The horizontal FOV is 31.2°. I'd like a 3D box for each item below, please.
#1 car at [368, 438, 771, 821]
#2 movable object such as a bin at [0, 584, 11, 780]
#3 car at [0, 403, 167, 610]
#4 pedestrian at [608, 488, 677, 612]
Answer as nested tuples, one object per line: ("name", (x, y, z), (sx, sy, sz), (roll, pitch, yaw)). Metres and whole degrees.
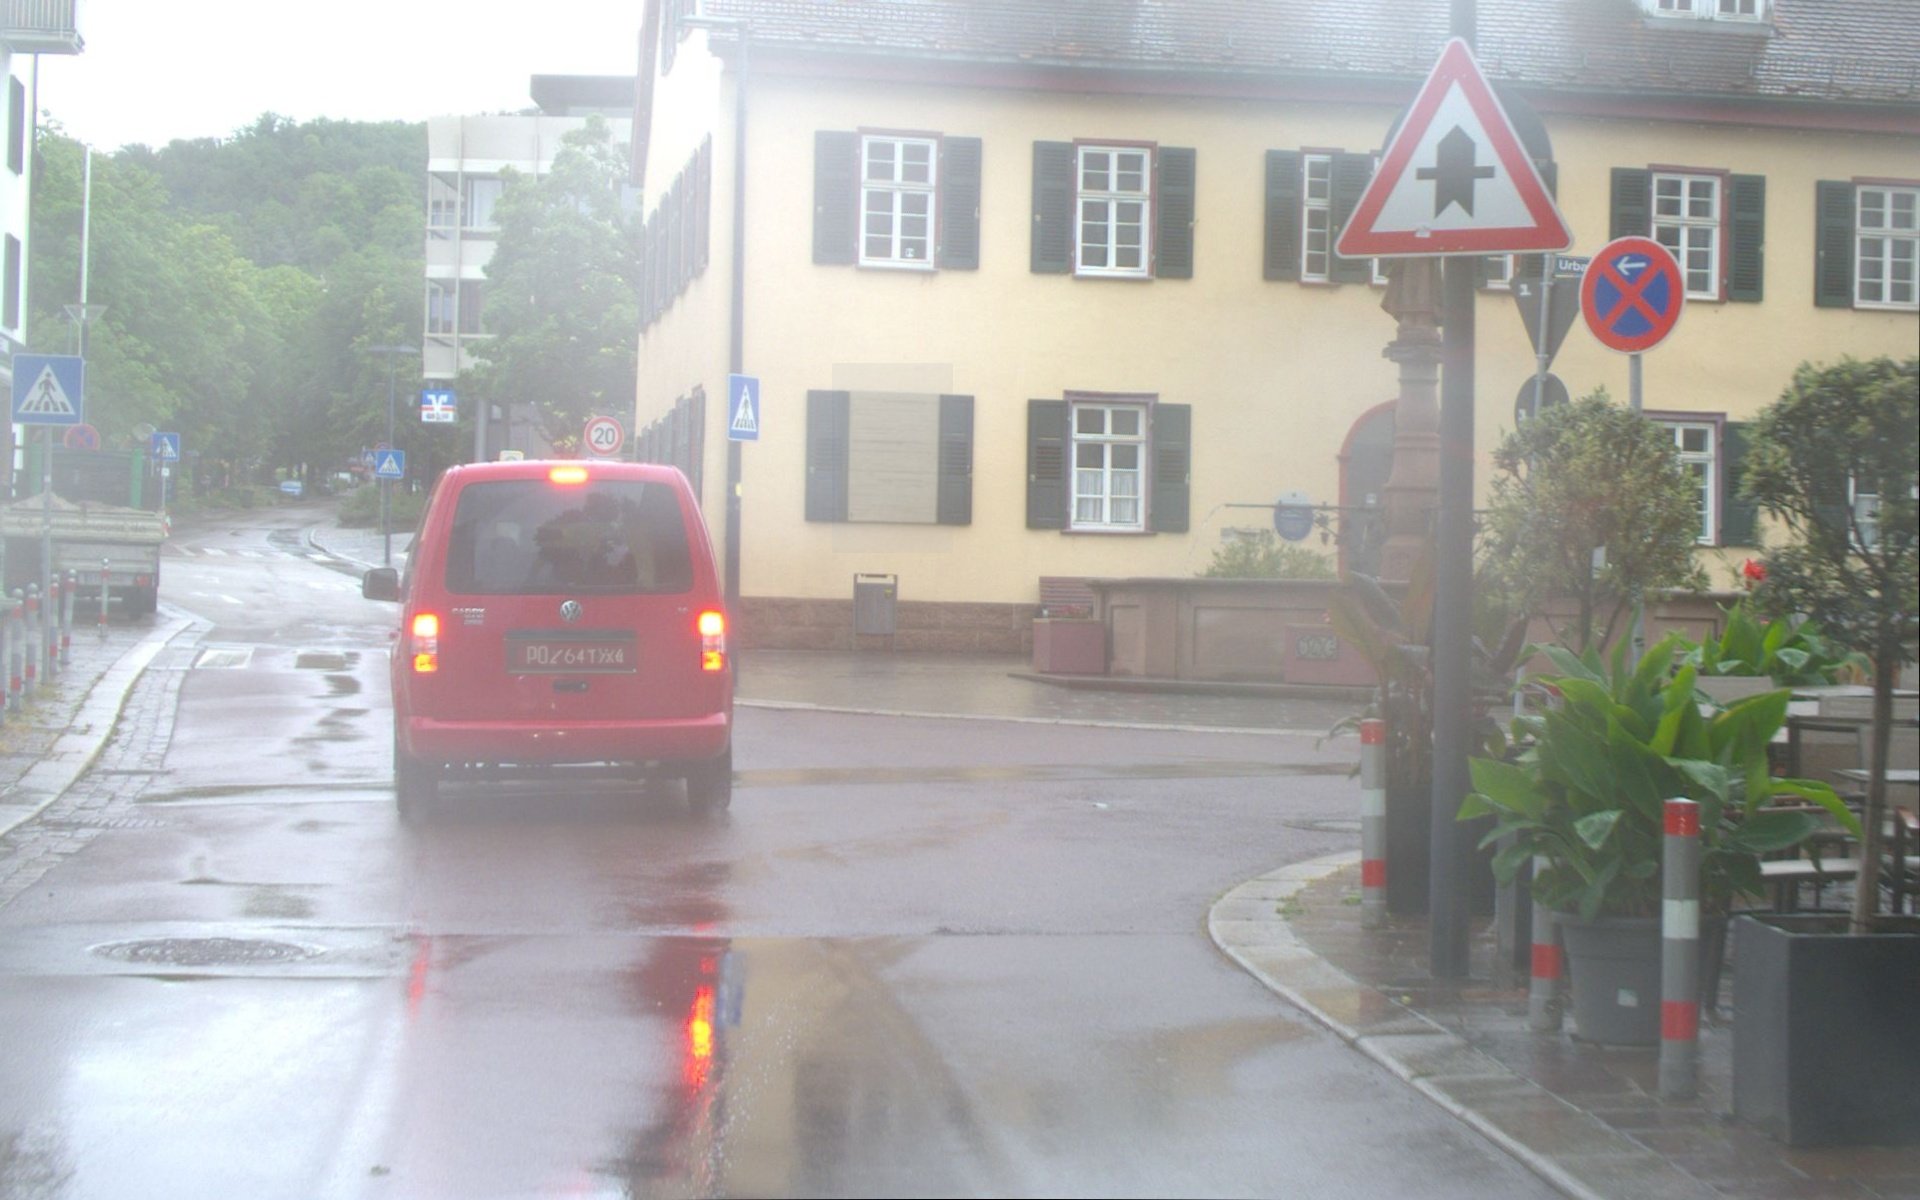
("car", (-2.208, 0.080, 18.920), (1.893, 1.805, 4.001), (3, 2, -8))
("movable object such as a bin", (-5.764, 0.445, 19.056), (0.794, 1.102, 0.722), (2, -1, -3))
("car", (-12.319, -1.210, 48.012), (2.299, 2.593, 6.960), (3, -1, -13))
("pedestrian", (-4.843, -0.757, 52.477), (0.764, 1.836, 0.901), (2, -1, 9))
